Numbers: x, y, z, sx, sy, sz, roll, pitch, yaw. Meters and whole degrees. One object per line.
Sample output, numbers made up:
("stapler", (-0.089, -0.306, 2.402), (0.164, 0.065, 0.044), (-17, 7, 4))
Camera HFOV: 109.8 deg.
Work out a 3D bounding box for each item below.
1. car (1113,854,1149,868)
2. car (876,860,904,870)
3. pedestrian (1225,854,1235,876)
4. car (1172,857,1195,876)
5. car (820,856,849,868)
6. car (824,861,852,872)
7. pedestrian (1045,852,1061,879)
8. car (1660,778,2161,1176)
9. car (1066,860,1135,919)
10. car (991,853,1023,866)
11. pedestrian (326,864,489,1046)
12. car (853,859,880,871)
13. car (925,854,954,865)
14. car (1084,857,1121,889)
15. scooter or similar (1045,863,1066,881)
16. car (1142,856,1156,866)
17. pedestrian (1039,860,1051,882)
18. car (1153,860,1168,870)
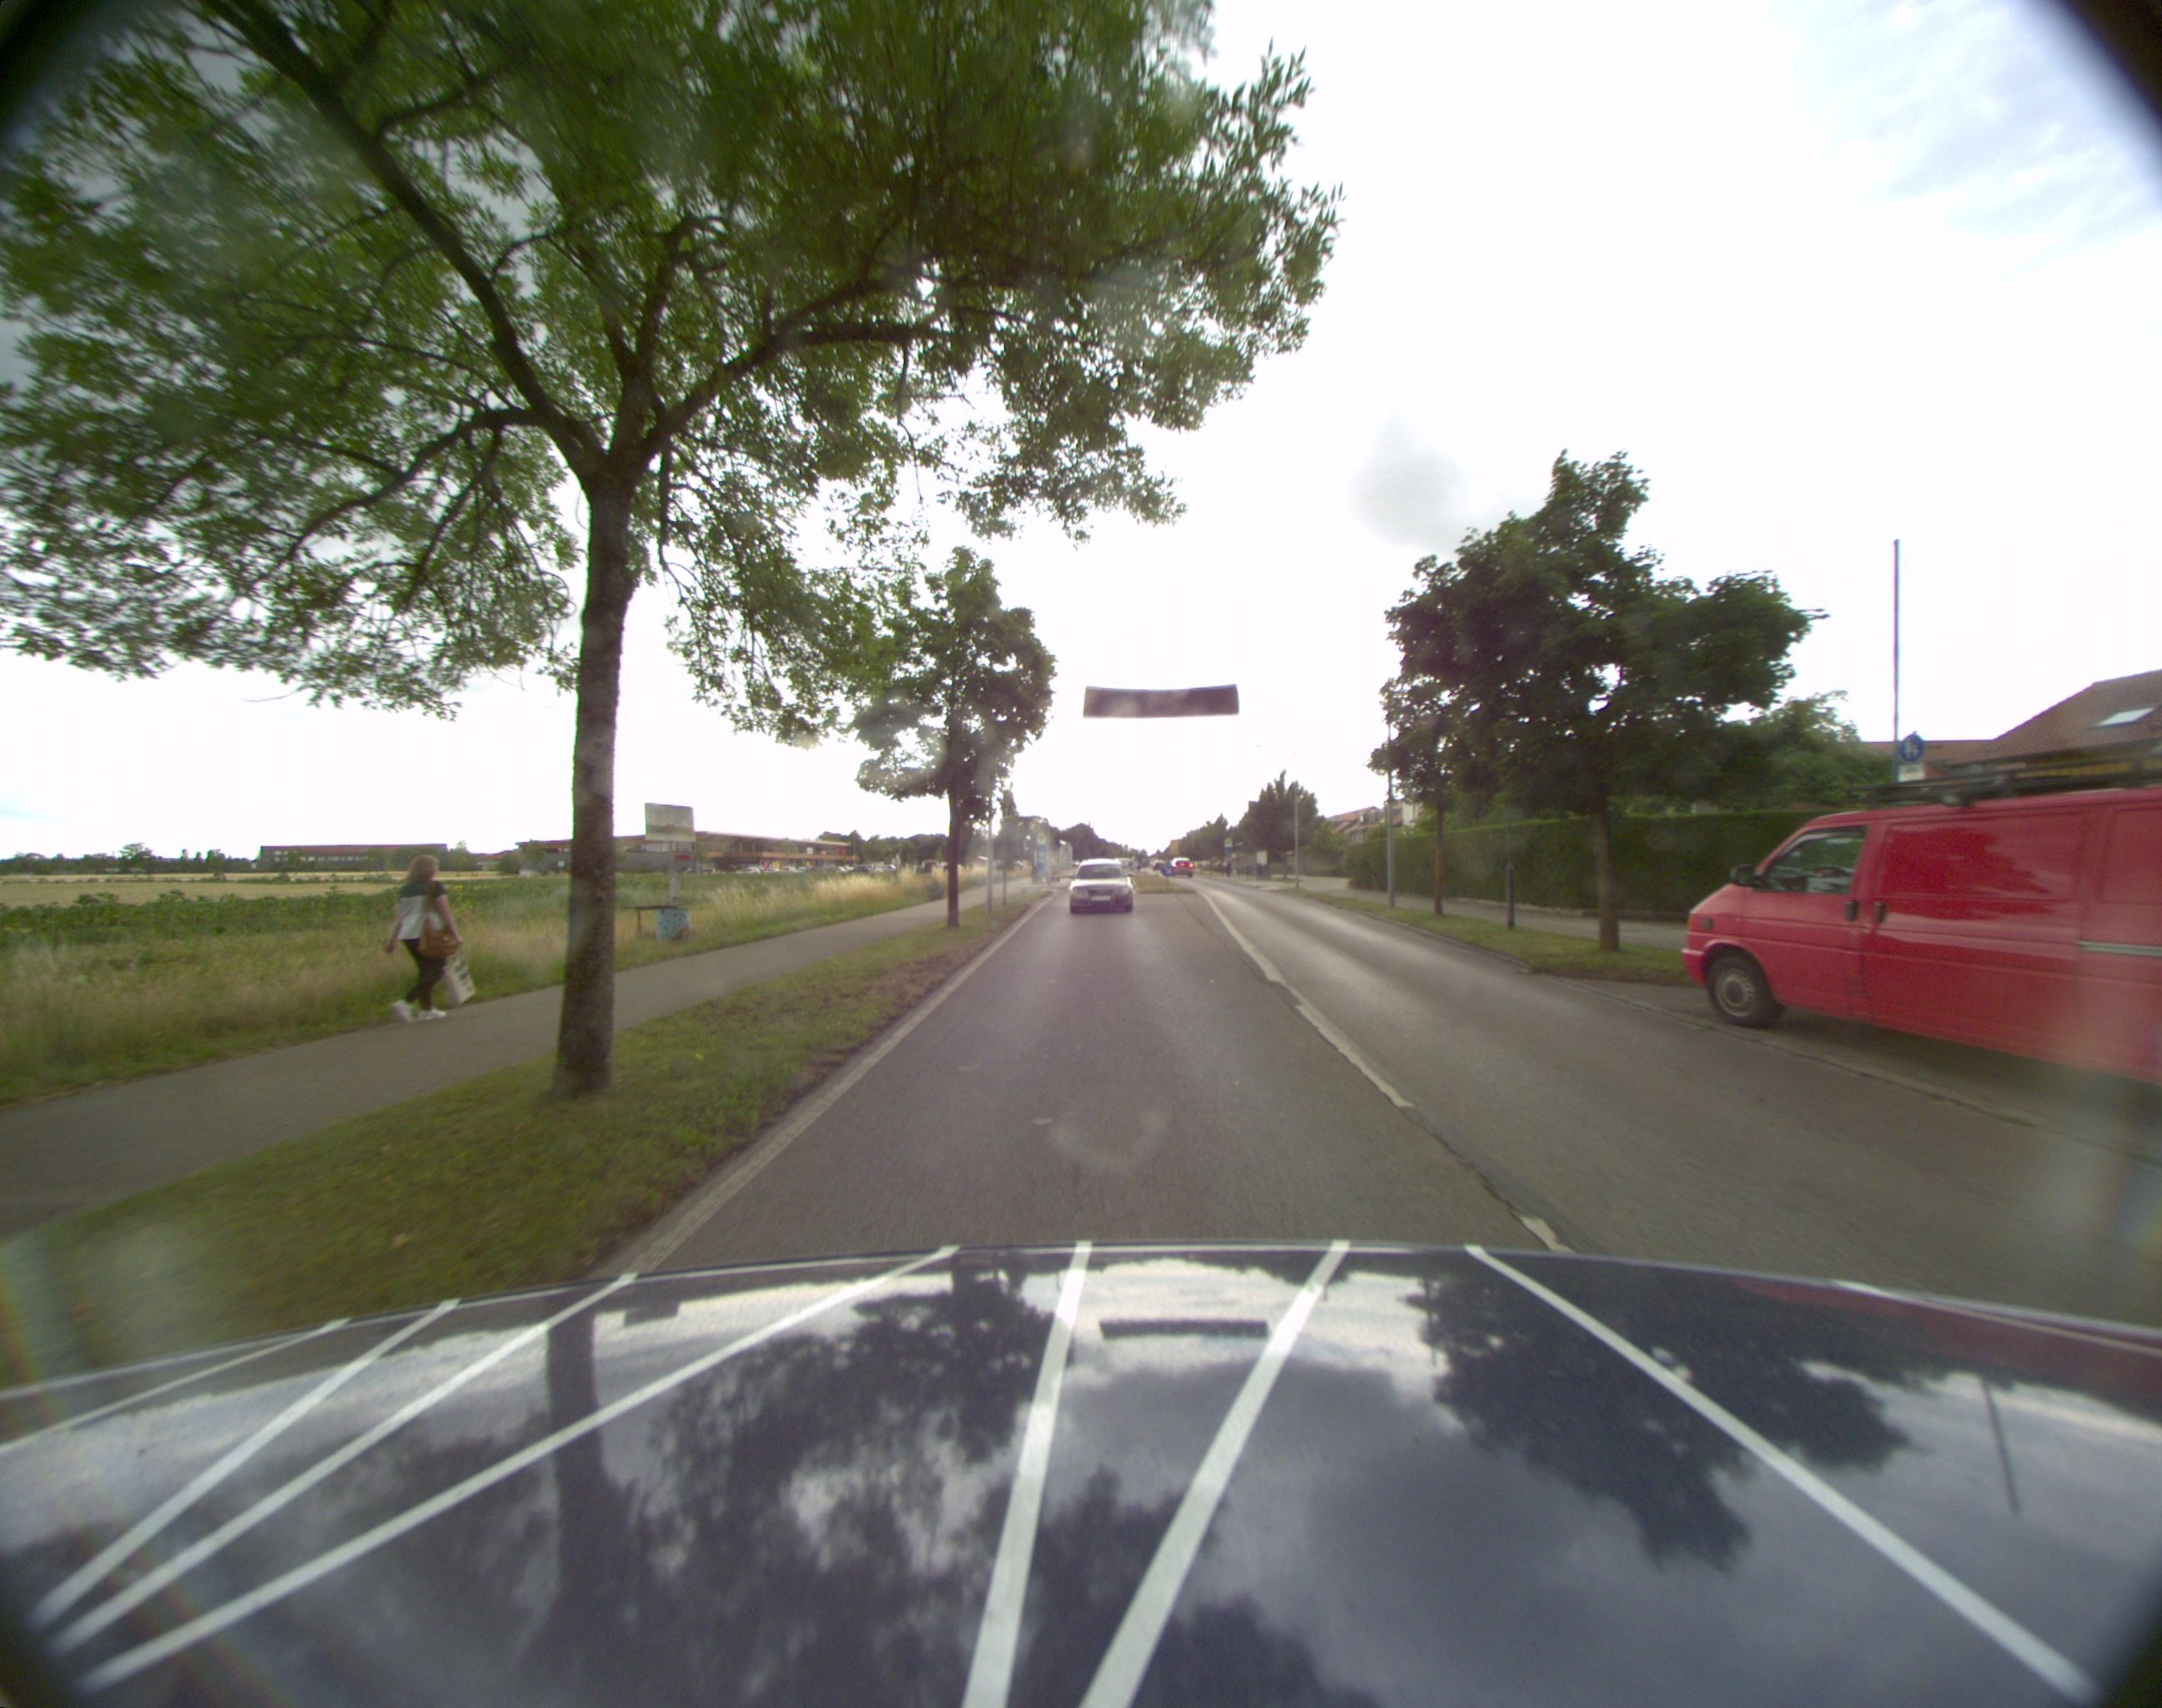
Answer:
("car", (8.019, 1.112, 121.070), (5.324, 2.002, 1.996), (-3, 0, -27))
("car", (-41.310, 2.340, 164.218), (5.526, 2.002, 1.999), (-2, 0, -4))
("pedestrian", (11.195, 0.804, 57.049), (0.589, 1.626, 0.813), (-1, 0, 2))
("car", (8.814, 1.051, 65.459), (1.711, 1.523, 3.509), (1, 0, 5))
("car", (-47.446, 1.501, 146.188), (4.857, 2.002, 1.999), (-2, 0, -5))
("car", (-48.763, 2.450, 152.652), (4.857, 2.002, 1.999), (-2, 0, -5))
("pedestrian", (-1.879, 0.774, 50.957), (0.782, 1.782, 0.780), (-2, 1, 24))
("car", (6.456, 0.620, 4.883), (1.834, 2.018, 5.047), (-1, 0, 3))
("car", (0.603, 0.950, 22.166), (1.763, 1.410, 4.521), (-3, 0, 2))
("car", (-13.037, 0.999, 134.438), (5.526, 2.002, 1.999), (-2, 0, -4))
("pedestrian", (-6.864, 0.986, 7.791), (0.839, 1.744, 0.870), (-1, 0, 7))
("car", (-42.148, 2.181, 149.299), (4.857, 2.002, 1.999), (-2, 0, -5))
("car", (-29.598, 1.150, 159.027), (5.526, 2.002, 1.999), (-2, 0, -4))
("car", (1.158, 0.973, 40.090), (1.763, 1.495, 4.692), (-3, 0, 2))
("scooter or similar", (-1.599, 1.132, 47.585), (0.707, 1.056, 1.062), (-2, 1, 39))
("car", (14.601, 1.467, 164.350), (2.560, 2.002, 5.317), (-2, 0, 1))
("pedestrian", (-2.248, 1.049, 47.264), (0.666, 1.295, 0.505), (-3, 0, 3))
("car", (11.509, 1.600, 110.145), (1.924, 1.445, 4.497), (0, 0, 3))
